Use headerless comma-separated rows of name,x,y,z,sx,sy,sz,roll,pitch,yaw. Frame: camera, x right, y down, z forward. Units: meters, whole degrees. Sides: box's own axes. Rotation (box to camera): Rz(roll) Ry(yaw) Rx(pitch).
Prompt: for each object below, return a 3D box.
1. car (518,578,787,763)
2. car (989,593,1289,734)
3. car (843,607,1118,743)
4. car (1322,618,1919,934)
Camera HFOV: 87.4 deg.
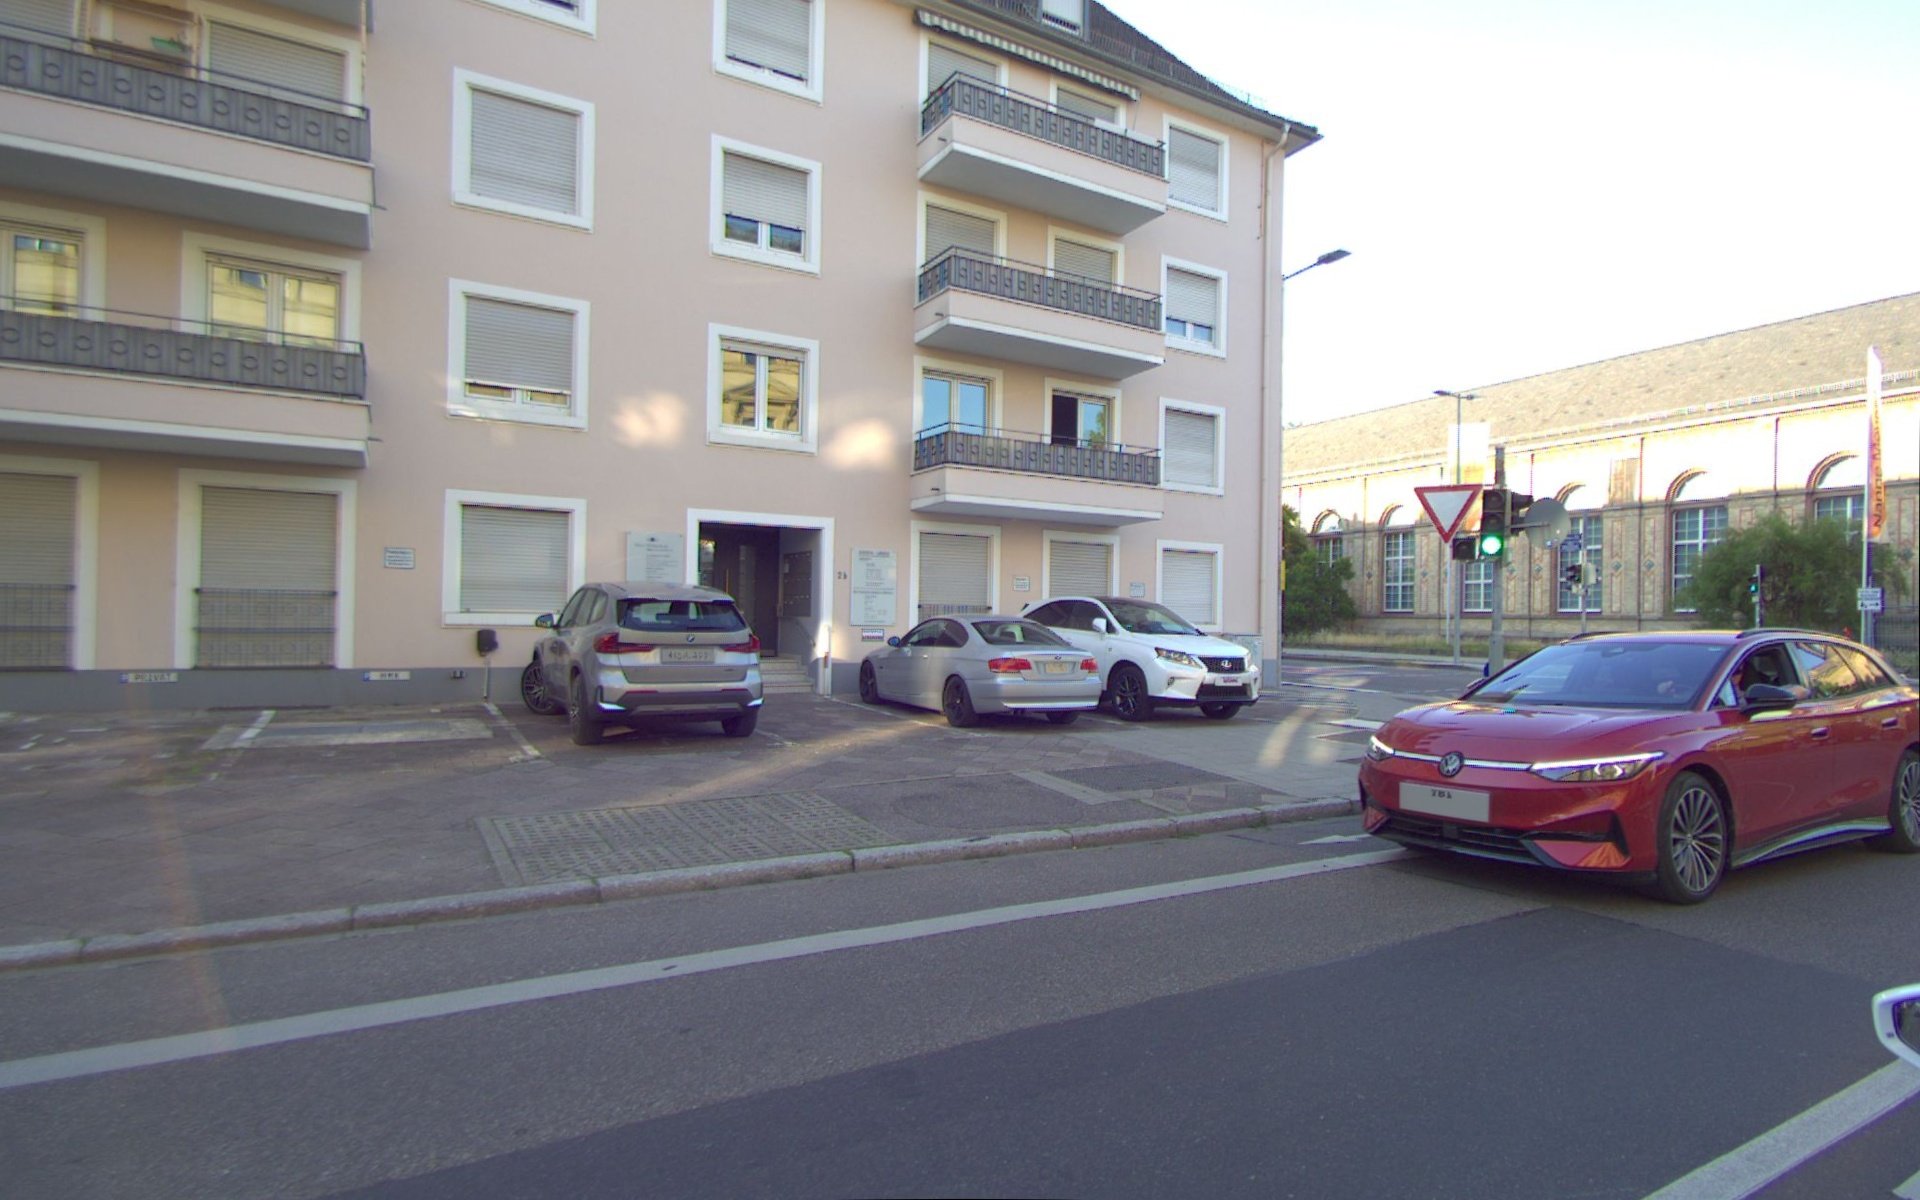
car,-3.650,0.603,11.320,1.894,1.626,4.395,1,1,-31
car,2.427,0.795,14.819,1.920,1.663,4.417,1,1,-31
car,0.088,0.876,13.553,1.716,1.399,4.244,1,1,-31
car,4.901,0.930,6.977,4.789,1.566,1.823,1,-2,-29
